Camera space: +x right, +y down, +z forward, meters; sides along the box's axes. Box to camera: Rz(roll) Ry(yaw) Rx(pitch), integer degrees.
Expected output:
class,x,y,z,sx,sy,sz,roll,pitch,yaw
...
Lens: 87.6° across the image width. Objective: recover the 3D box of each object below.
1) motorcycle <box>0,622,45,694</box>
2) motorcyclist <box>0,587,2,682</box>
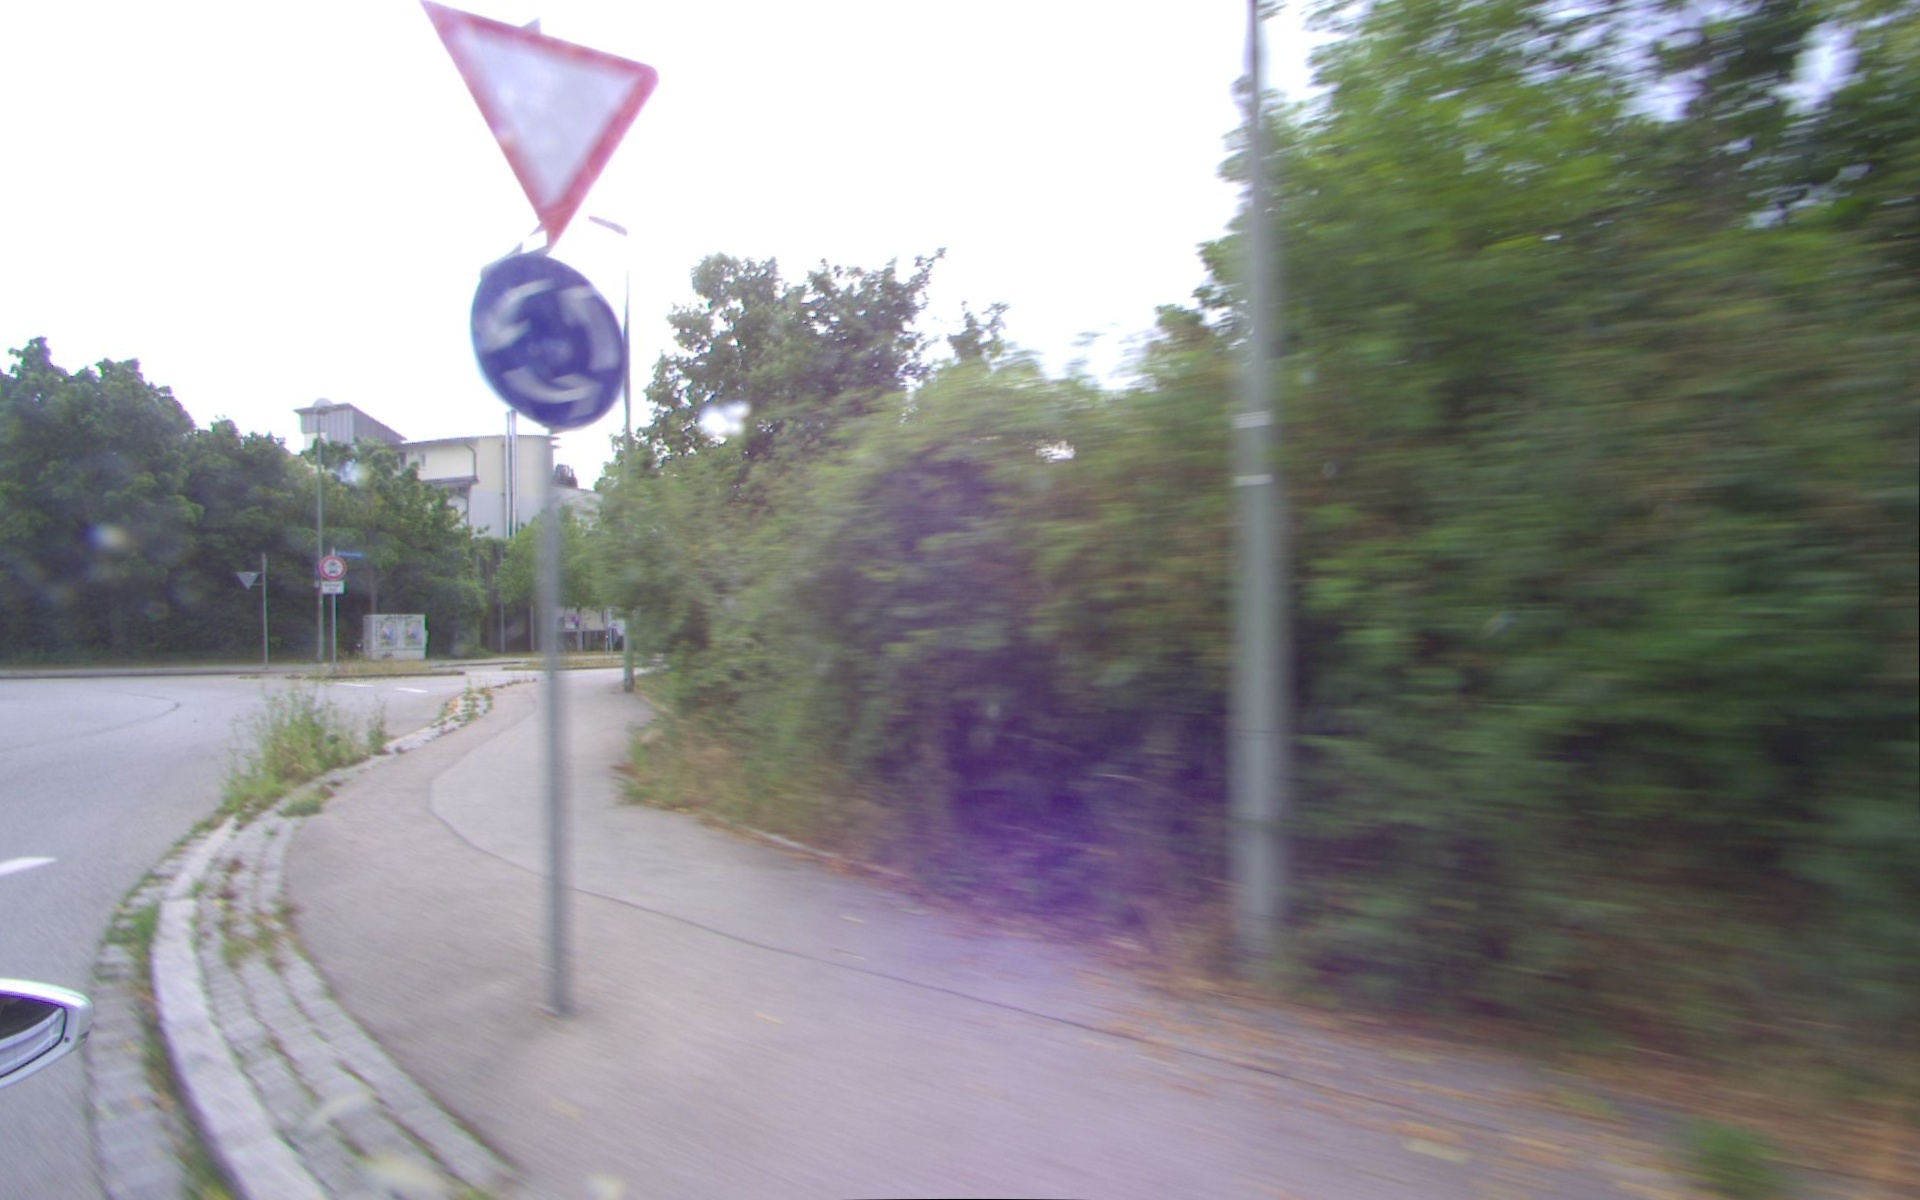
class,x,y,z,sx,sy,sz,roll,pitch,yaw
motorcycle,-17.098,0.966,16.992,2.570,1.173,0.899,0,0,9
motorcyclist,-17.246,0.590,17.021,1.168,1.645,0.864,0,0,9
